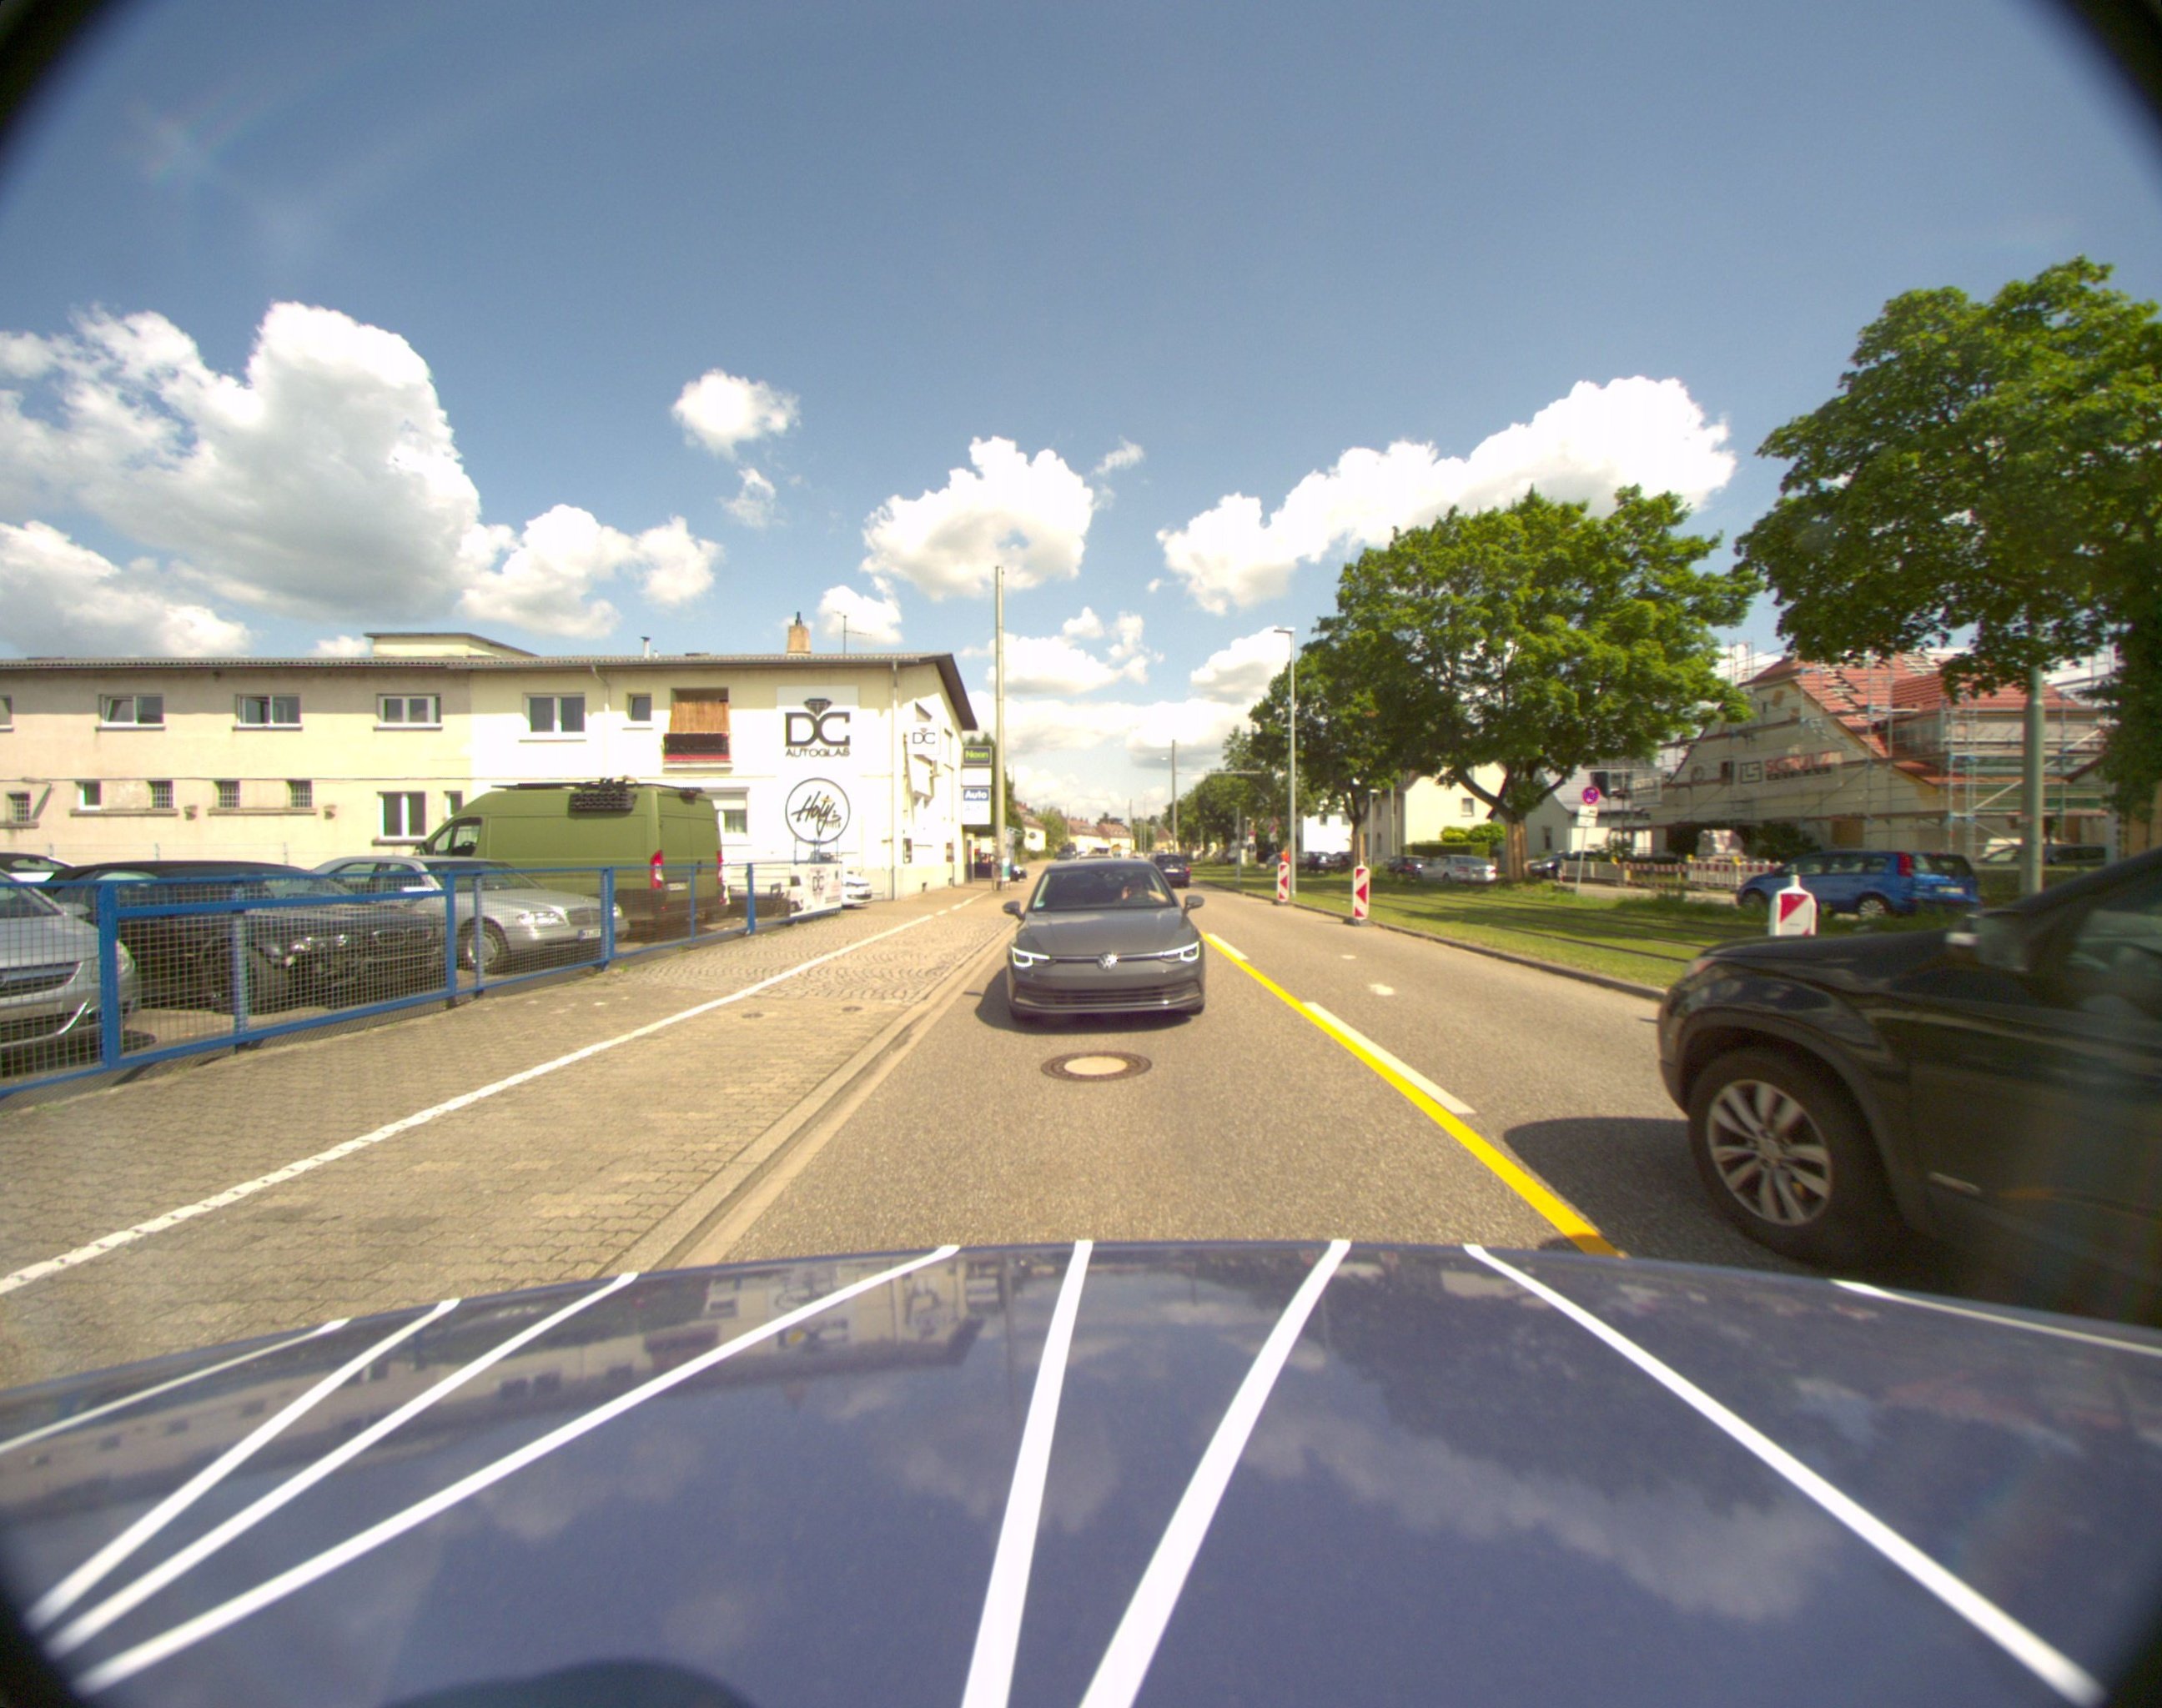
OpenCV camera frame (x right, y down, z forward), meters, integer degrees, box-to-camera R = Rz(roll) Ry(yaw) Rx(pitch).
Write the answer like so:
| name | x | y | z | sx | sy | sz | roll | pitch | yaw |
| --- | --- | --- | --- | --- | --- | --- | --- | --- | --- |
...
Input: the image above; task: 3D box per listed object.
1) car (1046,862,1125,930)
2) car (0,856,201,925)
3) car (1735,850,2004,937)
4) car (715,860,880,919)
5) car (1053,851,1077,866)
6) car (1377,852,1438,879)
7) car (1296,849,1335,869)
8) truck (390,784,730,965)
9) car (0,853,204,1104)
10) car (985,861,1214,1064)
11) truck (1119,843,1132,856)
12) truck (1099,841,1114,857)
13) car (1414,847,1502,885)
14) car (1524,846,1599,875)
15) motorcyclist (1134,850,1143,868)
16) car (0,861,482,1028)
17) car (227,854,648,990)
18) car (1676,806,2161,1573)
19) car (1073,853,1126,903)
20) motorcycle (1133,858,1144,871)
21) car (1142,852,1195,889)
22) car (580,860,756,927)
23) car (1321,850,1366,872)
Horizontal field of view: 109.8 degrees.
| name | x | y | z | sx | sy | sz | roll | pitch | yaw |
| --- | --- | --- | --- | --- | --- | --- | --- | --- | --- |
| car | 0.146 | 0.877 | 17.249 | 1.555 | 1.217 | 3.729 | -2 | 1 | 2 |
| car | -21.160 | 0.722 | 15.940 | 1.453 | 1.255 | 3.276 | -2 | 1 | 2 |
| car | 16.423 | 0.732 | 16.161 | 1.672 | 1.504 | 3.930 | -2 | 1 | 1 |
| car | -7.421 | 0.912 | 20.067 | 3.725 | 1.350 | 1.518 | -2 | 1 | 4 |
| car | -1.574 | 0.457 | 76.295 | 1.823 | 1.412 | 4.002 | 0 | 0 | 7 |
| car | 16.994 | 0.587 | 39.726 | 1.624 | 1.235 | 3.786 | -2 | 1 | 1 |
| car | 17.118 | 0.327 | 55.612 | 1.636 | 1.294 | 3.999 | -2 | 1 | 1 |
| truck | -8.574 | 0.310 | 12.838 | 4.181 | 2.645 | 2.108 | -2 | 1 | 2 |
| car | -8.608 | 0.833 | 5.175 | 4.254 | 1.496 | 1.829 | -2 | 1 | 17 |
| car | 0.212 | 0.873 | 8.104 | 1.743 | 1.410 | 4.380 | -2 | 1 | 2 |
| truck | 10.356 | -1.075 | 176.377 | 2.665 | 2.787 | 7.539 | -2 | 1 | 4 |
| truck | 5.036 | -0.990 | 150.369 | 2.631 | 2.872 | 7.924 | -2 | 1 | 4 |
| car | 16.706 | 0.473 | 33.938 | 1.707 | 1.504 | 4.523 | -2 | 1 | 1 |
| car | 25.099 | 0.338 | 39.810 | 3.237 | 1.375 | 1.490 | -2 | 1 | 31 |
| motorcyclist | 4.633 | 0.402 | 61.325 | 0.651 | 1.434 | 0.588 | 0 | 2 | 1 |
| car | -8.681 | 0.828 | 7.565 | 4.257 | 1.366 | 1.741 | -1 | 1 | 8 |
| car | -8.344 | 0.849 | 10.045 | 4.257 | 1.499 | 1.828 | -2 | 1 | 9 |
| car | 3.275 | 0.751 | 0.907 | 1.801 | 1.680 | 4.220 | 1 | 0 | 0 |
| car | 0.607 | 0.751 | 25.523 | 1.594 | 1.418 | 3.707 | -2 | 1 | 1 |
| motorcycle | 4.616 | 0.840 | 61.258 | 0.706 | 1.036 | 2.465 | 0 | 1 | 1 |
| car | 3.751 | 0.670 | 33.287 | 1.715 | 1.478 | 4.535 | 1 | 1 | -1 |
| car | -8.706 | 0.809 | 16.144 | 3.033 | 1.267 | 1.332 | 1 | 1 | 2 |
| car | 17.072 | 0.435 | 49.614 | 1.636 | 1.294 | 3.999 | -2 | 1 | 1 |
